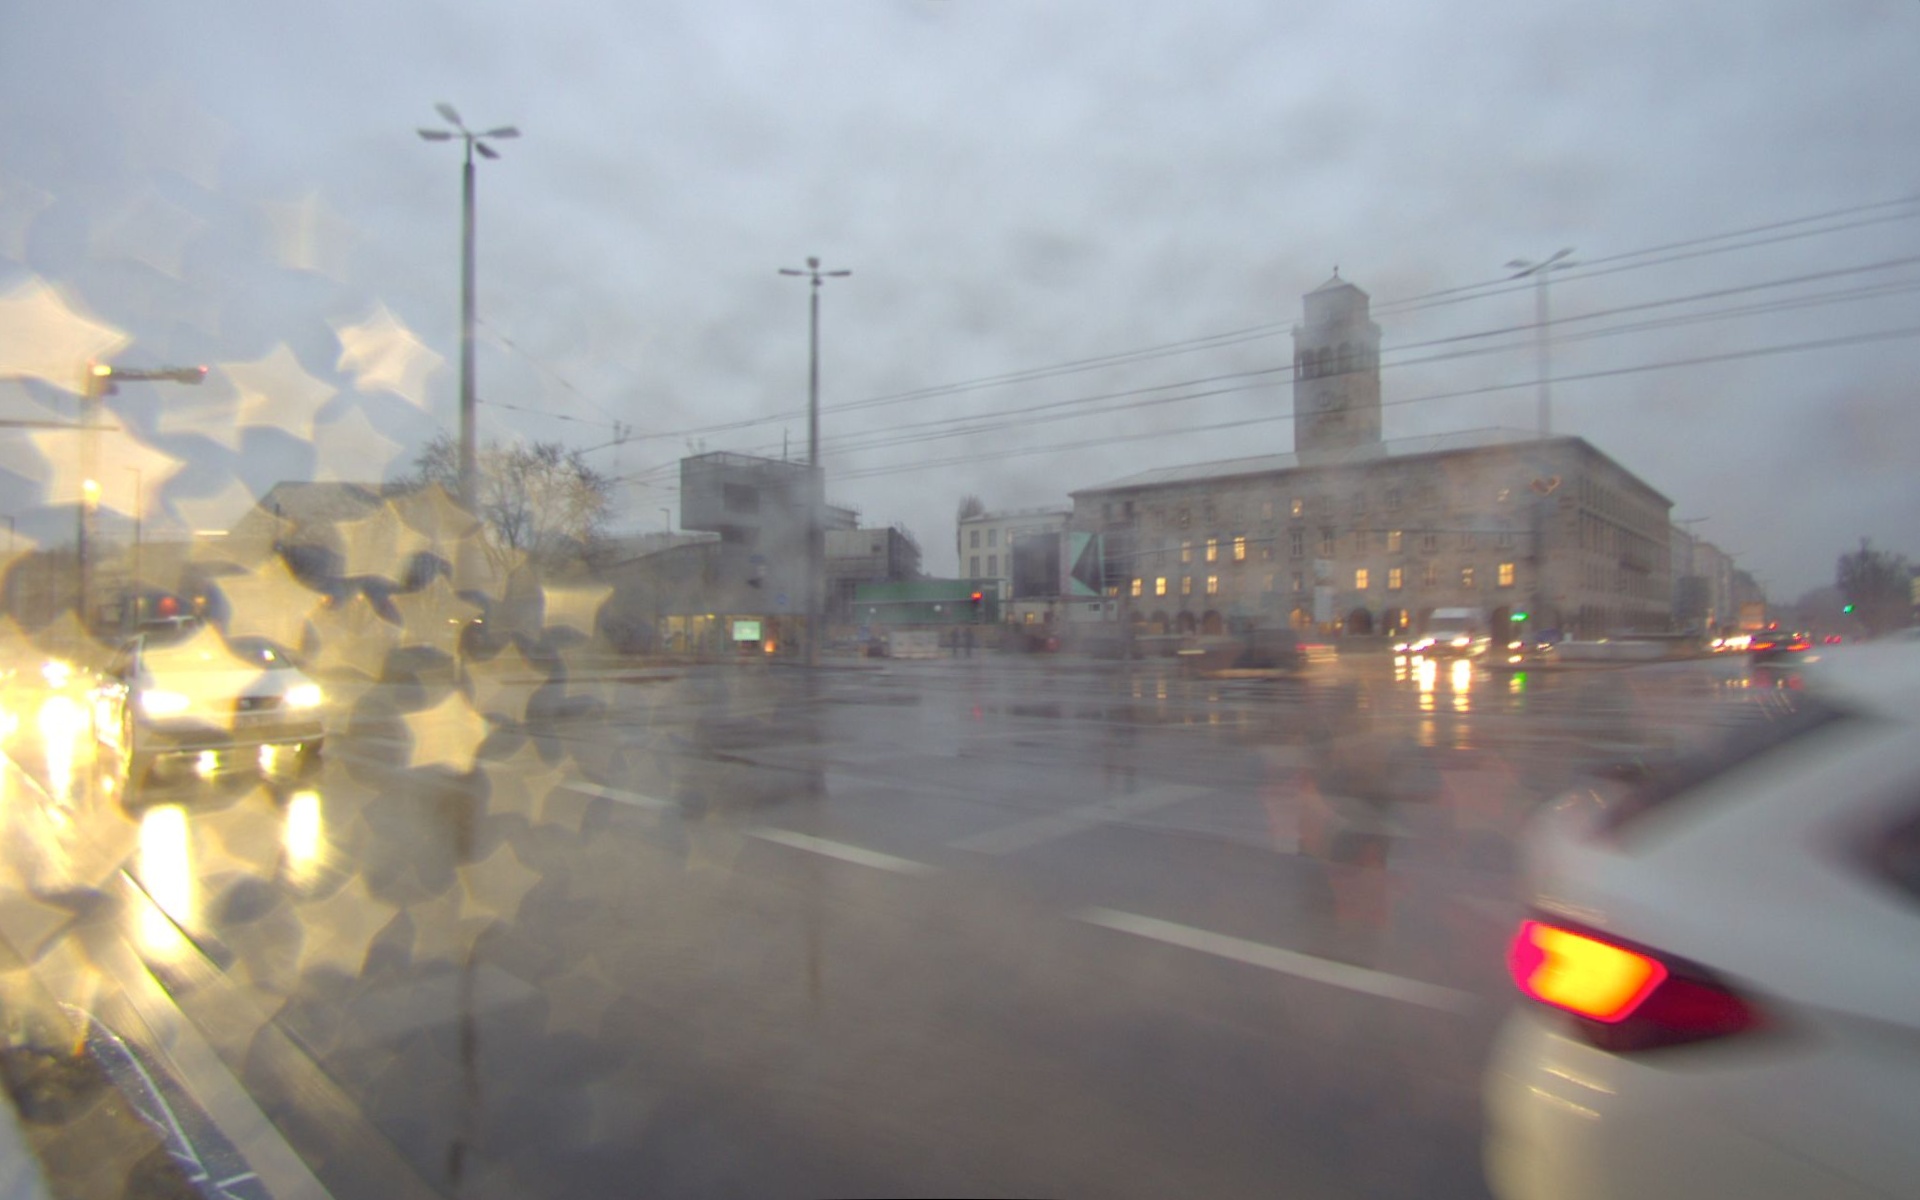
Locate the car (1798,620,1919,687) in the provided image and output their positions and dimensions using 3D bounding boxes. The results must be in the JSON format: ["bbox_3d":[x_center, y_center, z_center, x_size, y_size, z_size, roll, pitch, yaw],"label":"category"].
[{"bbox_3d":[22.609,1.226,23.565,4.422,1.492,1.980,-2,-1,30],"label":"car"}]

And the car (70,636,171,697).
[{"bbox_3d":[-28.848,2.243,34.761,3.996,1.896,1.928,-3,-1,39],"label":"car"}]

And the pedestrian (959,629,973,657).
[{"bbox_3d":[0.371,2.592,61.080,0.645,1.674,0.743,0,-2,-16],"label":"pedestrian"}]

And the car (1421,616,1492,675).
[{"bbox_3d":[24.443,2.174,49.788,1.999,2.732,4.379,-2,-1,41],"label":"car"}]

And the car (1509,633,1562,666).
[{"bbox_3d":[35.791,3.049,62.882,1.999,1.893,4.379,-2,-1,41],"label":"car"}]

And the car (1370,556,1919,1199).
[{"bbox_3d":[3.131,0.635,0.691,4.946,1.476,1.832,-2,-1,43],"label":"car"}]

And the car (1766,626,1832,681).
[{"bbox_3d":[32.051,1.998,38.618,1.756,1.893,4.139,-2,-1,41],"label":"car"}]

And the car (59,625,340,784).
[{"bbox_3d":[-8.918,1.088,11.738,4.137,1.484,1.791,-3,-2,41],"label":"car"}]

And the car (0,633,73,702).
[{"bbox_3d":[-25.280,1.748,26.869,3.996,1.696,1.974,-2,-1,39],"label":"car"}]

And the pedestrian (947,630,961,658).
[{"bbox_3d":[-0.381,2.659,60.980,0.645,1.678,0.743,0,-2,-16],"label":"pedestrian"}]

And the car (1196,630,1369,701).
[{"bbox_3d":[9.951,1.980,31.339,4.772,2.029,1.980,-2,-1,30],"label":"car"}]
